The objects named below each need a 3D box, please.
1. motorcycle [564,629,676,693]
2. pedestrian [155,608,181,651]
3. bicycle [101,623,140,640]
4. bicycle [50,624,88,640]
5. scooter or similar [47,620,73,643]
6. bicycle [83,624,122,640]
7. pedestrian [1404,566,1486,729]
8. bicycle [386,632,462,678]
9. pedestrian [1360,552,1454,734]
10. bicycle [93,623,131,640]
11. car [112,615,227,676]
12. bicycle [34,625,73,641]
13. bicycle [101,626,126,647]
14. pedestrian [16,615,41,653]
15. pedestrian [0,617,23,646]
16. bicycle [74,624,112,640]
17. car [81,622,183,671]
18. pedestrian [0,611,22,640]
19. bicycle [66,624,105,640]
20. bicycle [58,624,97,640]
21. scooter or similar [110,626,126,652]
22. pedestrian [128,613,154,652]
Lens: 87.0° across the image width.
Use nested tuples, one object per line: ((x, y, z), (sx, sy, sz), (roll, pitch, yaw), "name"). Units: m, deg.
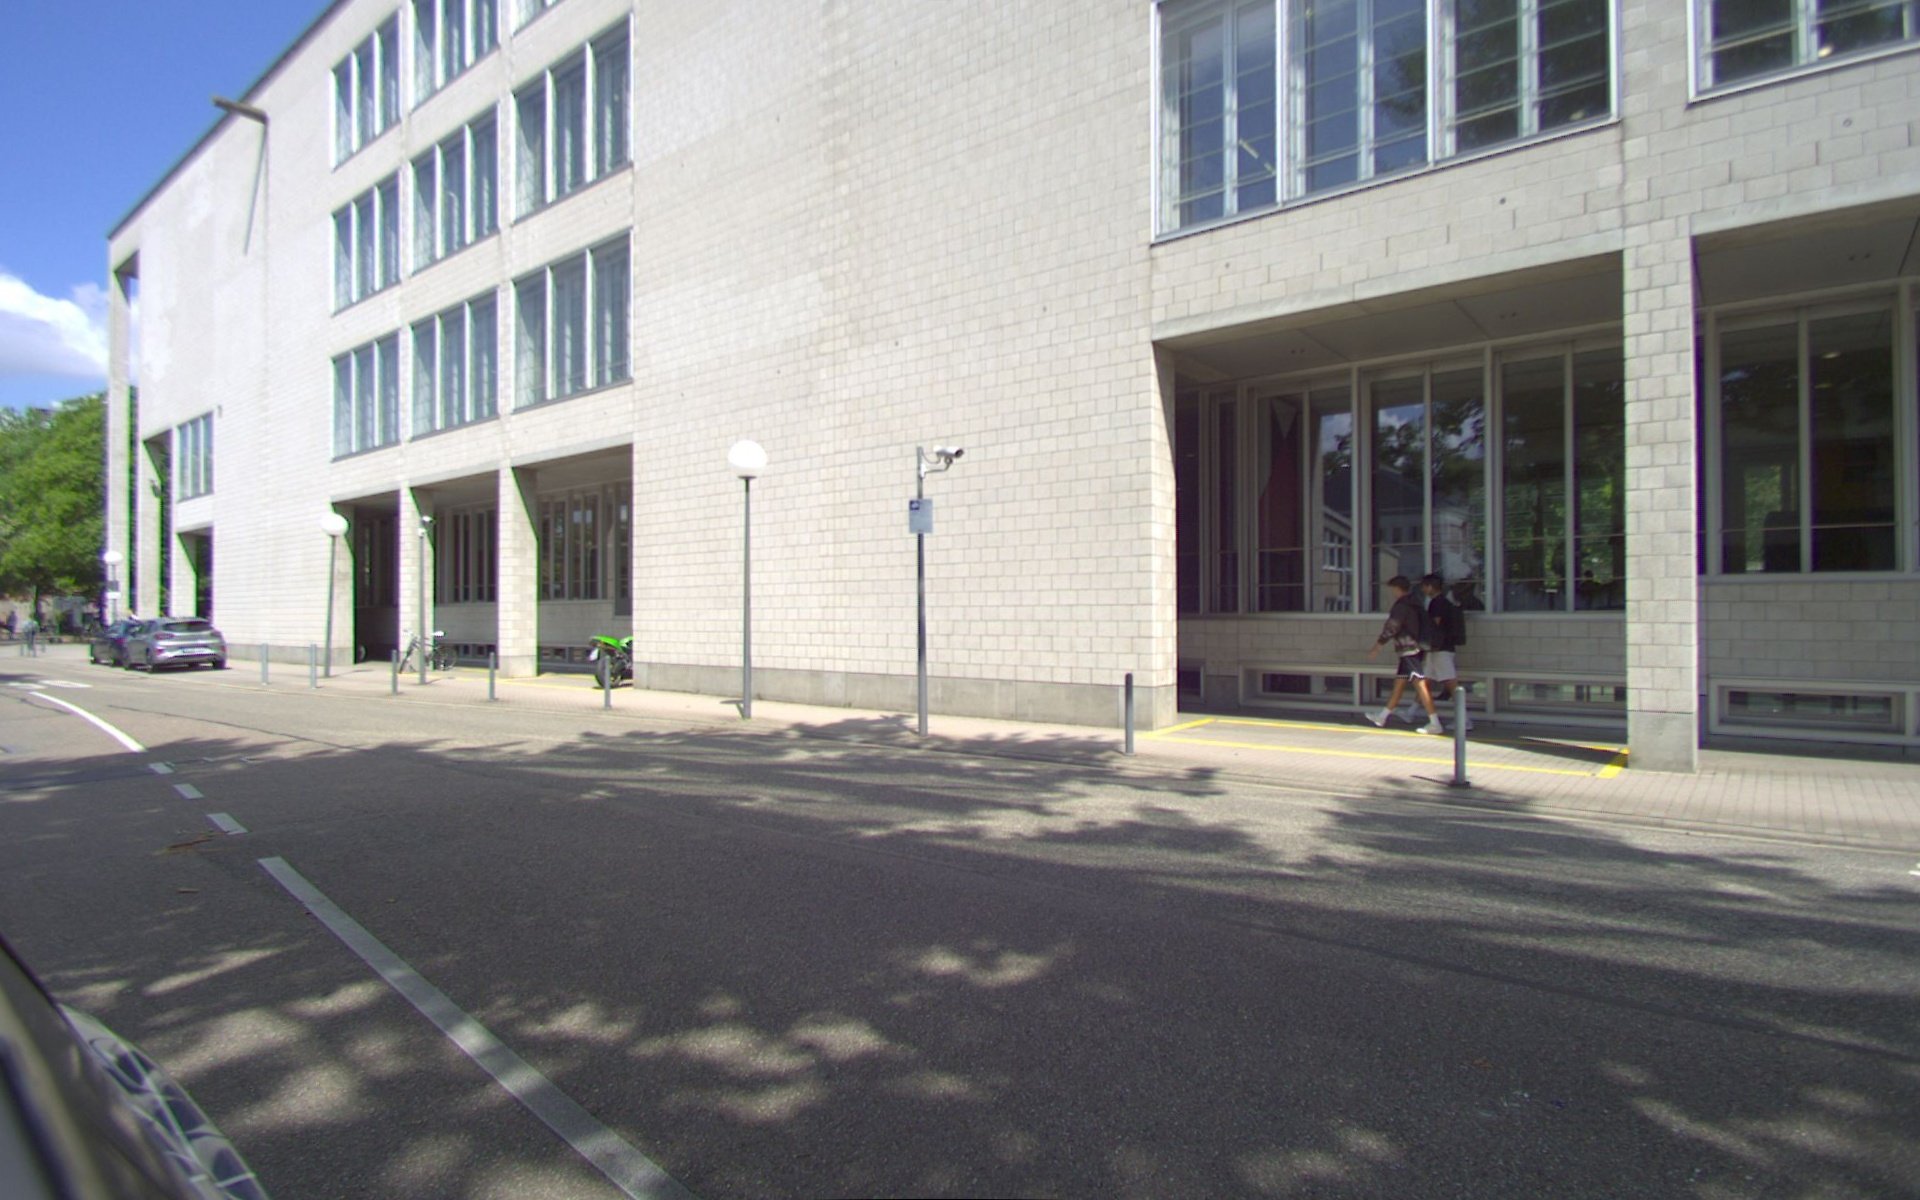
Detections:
((-6.677, 1.173, 19.989), (0.771, 1.146, 2.151), (-1, -1, 29), "motorcycle")
((-37.985, 1.407, 48.532), (1.080, 2.029, 0.745), (-1, -1, 39), "pedestrian")
((-58.186, 2.184, 70.179), (0.744, 1.166, 2.118), (0, 0, 9), "bicycle")
((-62.776, 2.269, 71.337), (0.615, 1.066, 2.118), (0, 0, 9), "bicycle")
((-50.010, 1.755, 56.246), (0.702, 1.200, 1.620), (0, 0, -29), "scooter or similar")
((-59.660, 2.217, 70.427), (0.675, 1.115, 2.118), (0, 0, 9), "bicycle")
((5.866, 0.552, 12.239), (0.719, 1.895, 0.724), (-1, -1, 39), "pedestrian")
((-13.697, 1.390, 25.908), (0.606, 1.095, 1.625), (-1, -1, 33), "bicycle")
((5.222, 0.485, 11.819), (0.829, 2.029, 0.692), (-1, -1, 39), "pedestrian")
((-58.926, 2.211, 70.313), (0.675, 1.115, 2.118), (0, 0, 9), "bicycle")
((-22.928, 1.255, 29.308), (4.402, 1.546, 1.709), (0, 1, 40), "car")
((-64.114, 2.297, 71.605), (0.615, 1.066, 2.118), (0, 0, 9), "bicycle")
((-44.859, 1.925, 53.632), (1.997, 1.115, 0.503), (-1, -1, 35), "bicycle")
((-44.829, 1.634, 48.719), (0.750, 1.738, 1.237), (-3, 2, -40), "pedestrian")
((-60.062, 1.976, 63.752), (1.368, 1.838, 1.383), (-1, -1, 39), "pedestrian")
((-60.609, 2.217, 70.778), (0.675, 1.066, 2.118), (0, 0, 9), "bicycle")
((-26.830, 1.452, 32.728), (4.660, 1.433, 1.709), (-1, -1, 40), "car")
((-68.434, 1.809, 72.659), (1.368, 2.029, 1.383), (-1, -1, 39), "pedestrian")
((-61.364, 2.258, 71.042), (0.675, 1.066, 2.118), (0, 0, 9), "bicycle")
((-62.076, 2.263, 71.185), (0.675, 1.066, 2.118), (0, 0, 9), "bicycle")
((-37.954, 1.742, 45.623), (1.311, 1.153, 0.314), (-1, -1, 39), "scooter or similar")
((-38.519, 1.529, 47.570), (1.080, 1.794, 0.745), (-1, -1, 39), "pedestrian")
